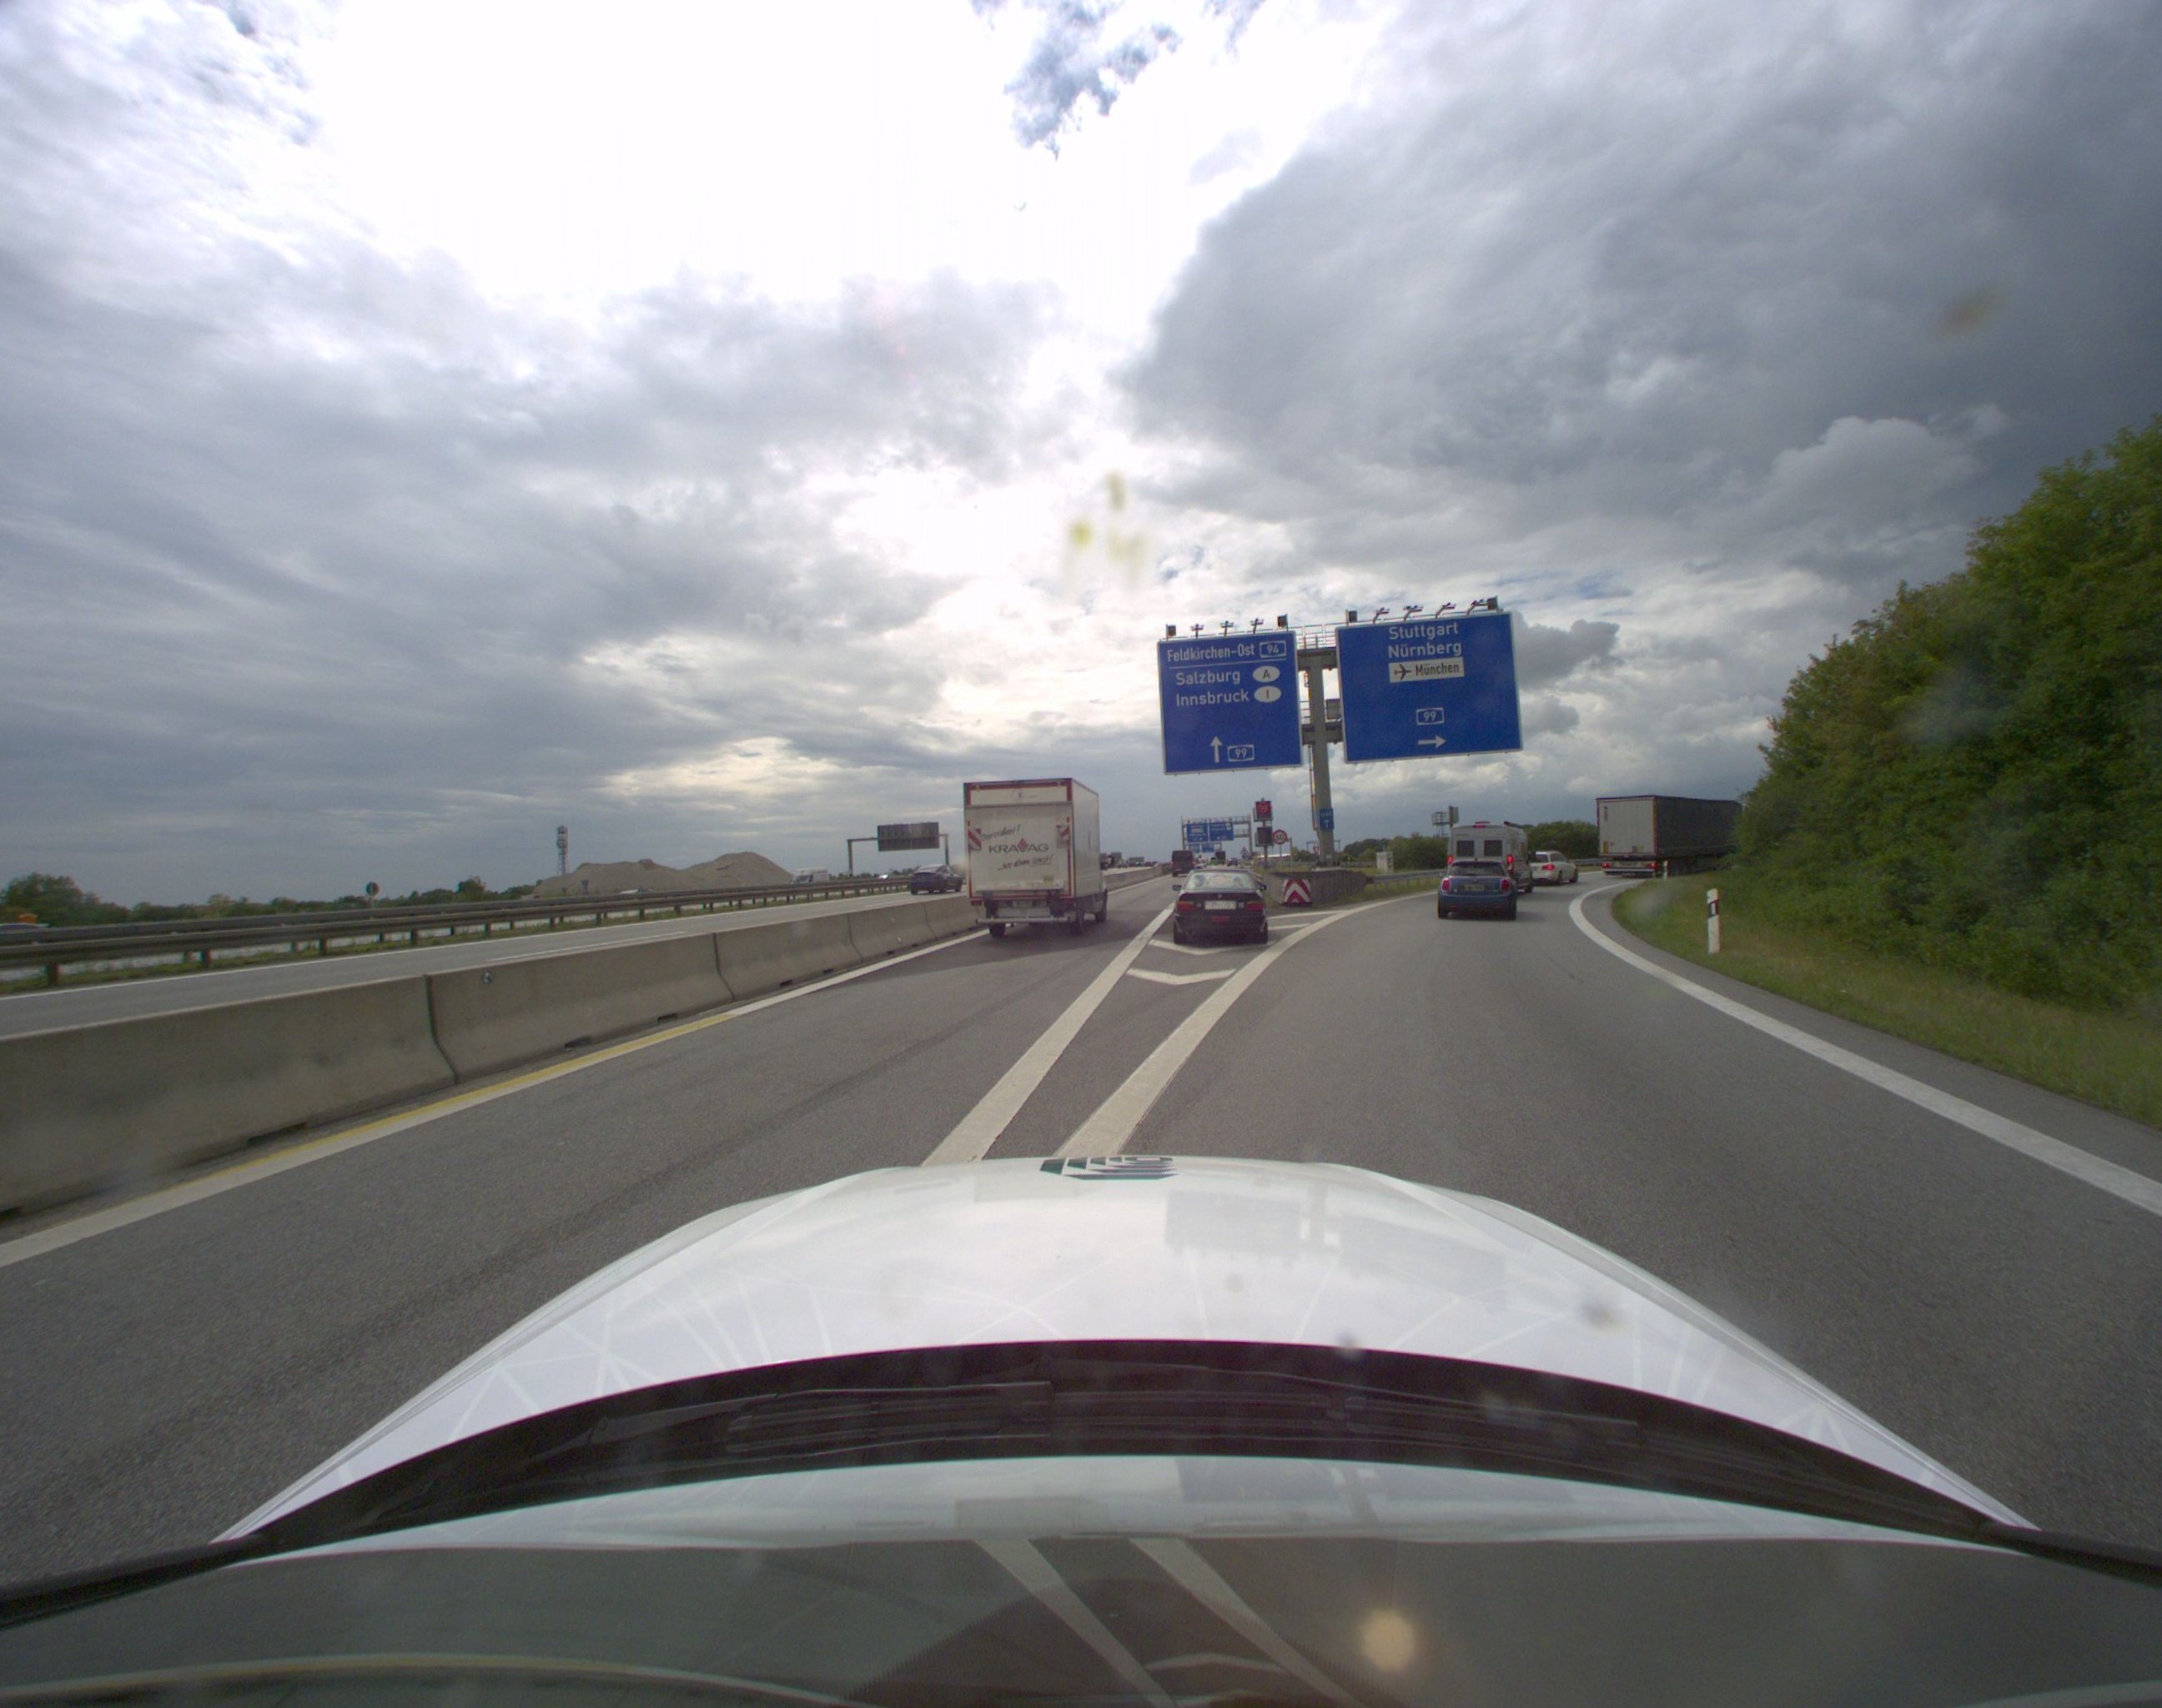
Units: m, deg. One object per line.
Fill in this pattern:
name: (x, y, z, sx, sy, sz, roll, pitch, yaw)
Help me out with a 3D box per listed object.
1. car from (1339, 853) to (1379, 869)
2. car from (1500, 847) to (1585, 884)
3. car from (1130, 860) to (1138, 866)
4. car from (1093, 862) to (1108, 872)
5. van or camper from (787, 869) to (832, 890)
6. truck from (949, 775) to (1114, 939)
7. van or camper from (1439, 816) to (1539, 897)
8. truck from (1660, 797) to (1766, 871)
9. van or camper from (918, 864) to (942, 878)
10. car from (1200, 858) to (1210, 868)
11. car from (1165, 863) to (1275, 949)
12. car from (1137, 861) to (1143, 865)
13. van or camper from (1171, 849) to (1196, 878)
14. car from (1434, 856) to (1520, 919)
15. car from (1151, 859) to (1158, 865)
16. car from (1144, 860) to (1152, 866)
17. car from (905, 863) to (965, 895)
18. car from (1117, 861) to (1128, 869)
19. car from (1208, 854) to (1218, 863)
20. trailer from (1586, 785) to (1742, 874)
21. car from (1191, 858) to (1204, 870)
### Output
car: (33.559, 0.890, 98.386, 2.008, 1.772, 4.202, -1, -1, -34)
car: (20.579, 0.489, 36.214, 2.185, 1.501, 4.816, -3, -1, 43)
car: (13.894, 2.355, 212.707, 1.890, 1.639, 4.243, -2, -1, 8)
car: (3.226, 2.078, 134.918, 2.048, 1.527, 4.577, -2, -1, 7)
van or camper: (-29.470, 2.741, 88.505, 2.224, 2.014, 6.287, -2, -1, 5)
truck: (-0.839, 0.087, 18.766, 2.390, 3.090, 6.385, -2, -1, 9)
van or camper: (14.767, 0.081, 29.233, 2.271, 2.568, 6.200, -3, -1, 35)
truck: (38.022, -1.165, 48.912, 6.821, 4.095, 3.332, -1, -1, -38)
van or camper: (-24.531, 2.792, 132.742, 2.175, 2.172, 5.819, -2, -1, 6)
car: (20.434, 1.482, 134.469, 1.576, 1.484, 3.544, -2, -1, 9)
car: (2.653, 0.897, 15.700, 1.772, 1.378, 4.147, -2, -1, 9)
car: (17.763, 2.711, 245.628, 1.544, 1.376, 4.009, -2, -1, 8)
van or camper: (9.123, 0.805, 72.125, 1.988, 2.371, 6.141, -2, -1, 9)
car: (9.989, 0.784, 20.405, 1.713, 1.419, 3.688, -2, -1, 29)
car: (23.655, 2.503, 262.182, 1.982, 1.684, 4.878, -2, -1, 9)
car: (16.975, 2.201, 205.037, 1.764, 1.530, 4.009, -2, -1, 8)
car: (-8.187, 1.379, 46.021, 1.982, 1.662, 4.393, -2, -1, 8)
car: (9.209, 2.405, 181.558, 1.890, 1.640, 4.655, -2, -1, 8)
car: (30.031, 1.044, 185.017, 1.983, 2.014, 4.008, -2, -1, 7)
trailer: (31.658, -1.213, 43.873, 13.096, 4.193, 3.303, -1, -1, -39)
car: (15.684, 1.318, 109.484, 1.692, 1.508, 3.848, -2, -1, 8)
